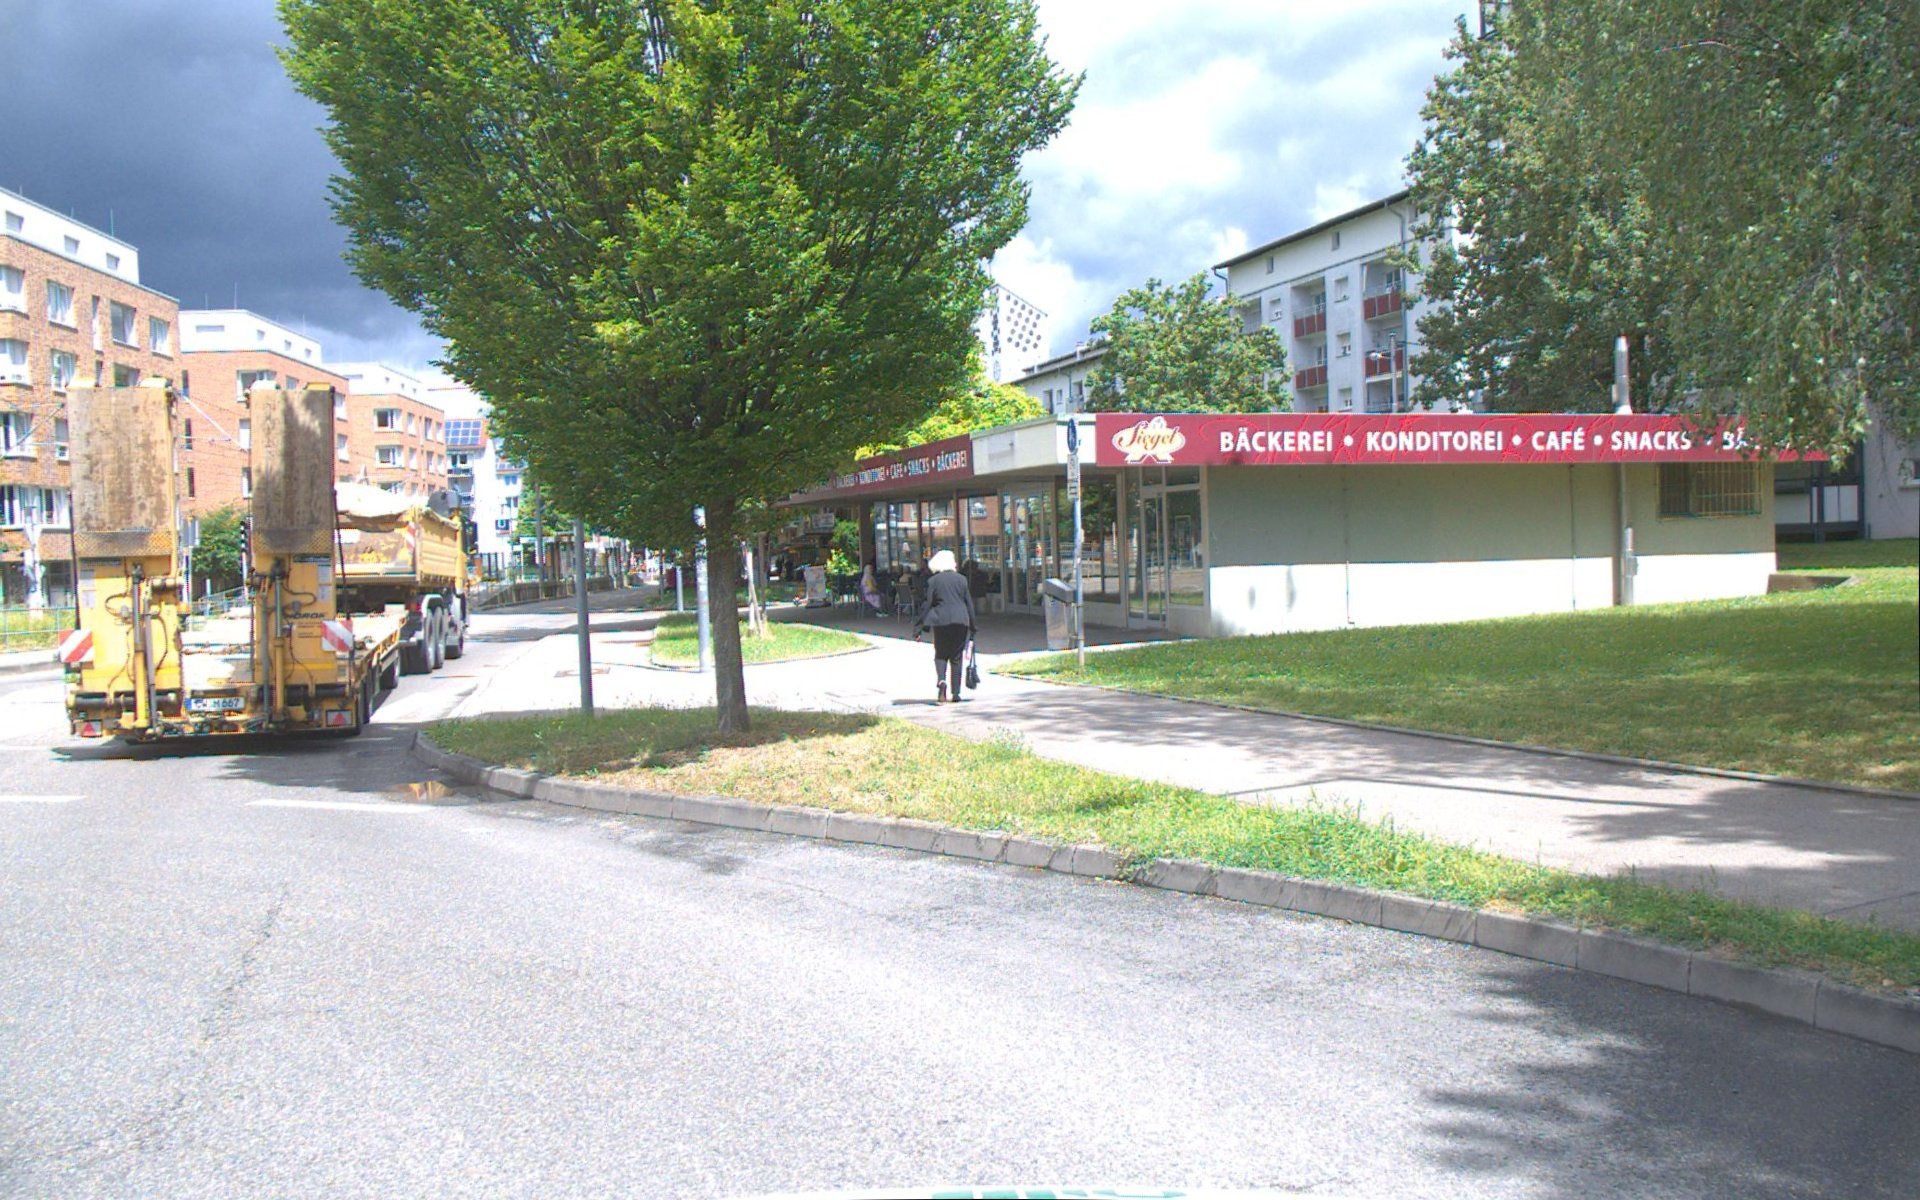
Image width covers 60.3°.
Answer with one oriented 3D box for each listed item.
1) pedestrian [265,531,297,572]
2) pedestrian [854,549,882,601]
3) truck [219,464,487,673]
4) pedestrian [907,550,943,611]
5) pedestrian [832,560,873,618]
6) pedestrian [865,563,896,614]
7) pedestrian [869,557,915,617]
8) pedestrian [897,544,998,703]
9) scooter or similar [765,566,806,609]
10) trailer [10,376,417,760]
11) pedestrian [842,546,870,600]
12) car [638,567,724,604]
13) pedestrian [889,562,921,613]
[{"bbox_3d":[-35.341,-2.518,86.090,1.114,2.048,0.998,-3,1,-2],"label":"pedestrian"},{"bbox_3d":[-2.756,-0.743,49.754,0.685,1.514,0.555,-3,1,-14],"label":"pedestrian"},{"bbox_3d":[-10.614,-0.587,29.899,2.934,3.087,8.466,-3,2,-10],"label":"truck"},{"bbox_3d":[-0.840,-0.477,39.708,0.705,1.404,0.697,-3,1,-11],"label":"pedestrian"},{"bbox_3d":[-2.605,-0.273,40.060,0.861,1.347,0.609,-3,1,-10],"label":"pedestrian"},{"bbox_3d":[-1.966,-0.294,40.988,0.704,1.222,0.698,-3,1,-4],"label":"pedestrian"},{"bbox_3d":[-1.620,-0.325,39.400,0.864,1.347,0.819,-3,4,-18],"label":"pedestrian"},{"bbox_3d":[-0.137,0.225,17.200,0.856,1.545,0.802,-3,4,-11],"label":"pedestrian"},{"bbox_3d":[-5.577,-0.416,52.991,0.507,1.247,1.732,-2,3,22],"label":"scooter or similar"},{"bbox_3d":[-8.488,-0.399,20.346,2.817,3.431,10.796,-2,1,-15],"label":"trailer"},{"bbox_3d":[-3.149,-0.831,50.246,0.685,1.600,0.555,-3,1,-14],"label":"pedestrian"},{"bbox_3d":[-13.407,-0.731,79.667,3.910,1.537,1.999,-2,4,-6],"label":"car"},{"bbox_3d":[-1.364,-0.317,40.939,0.704,1.222,0.698,-3,1,-4],"label":"pedestrian"}]
